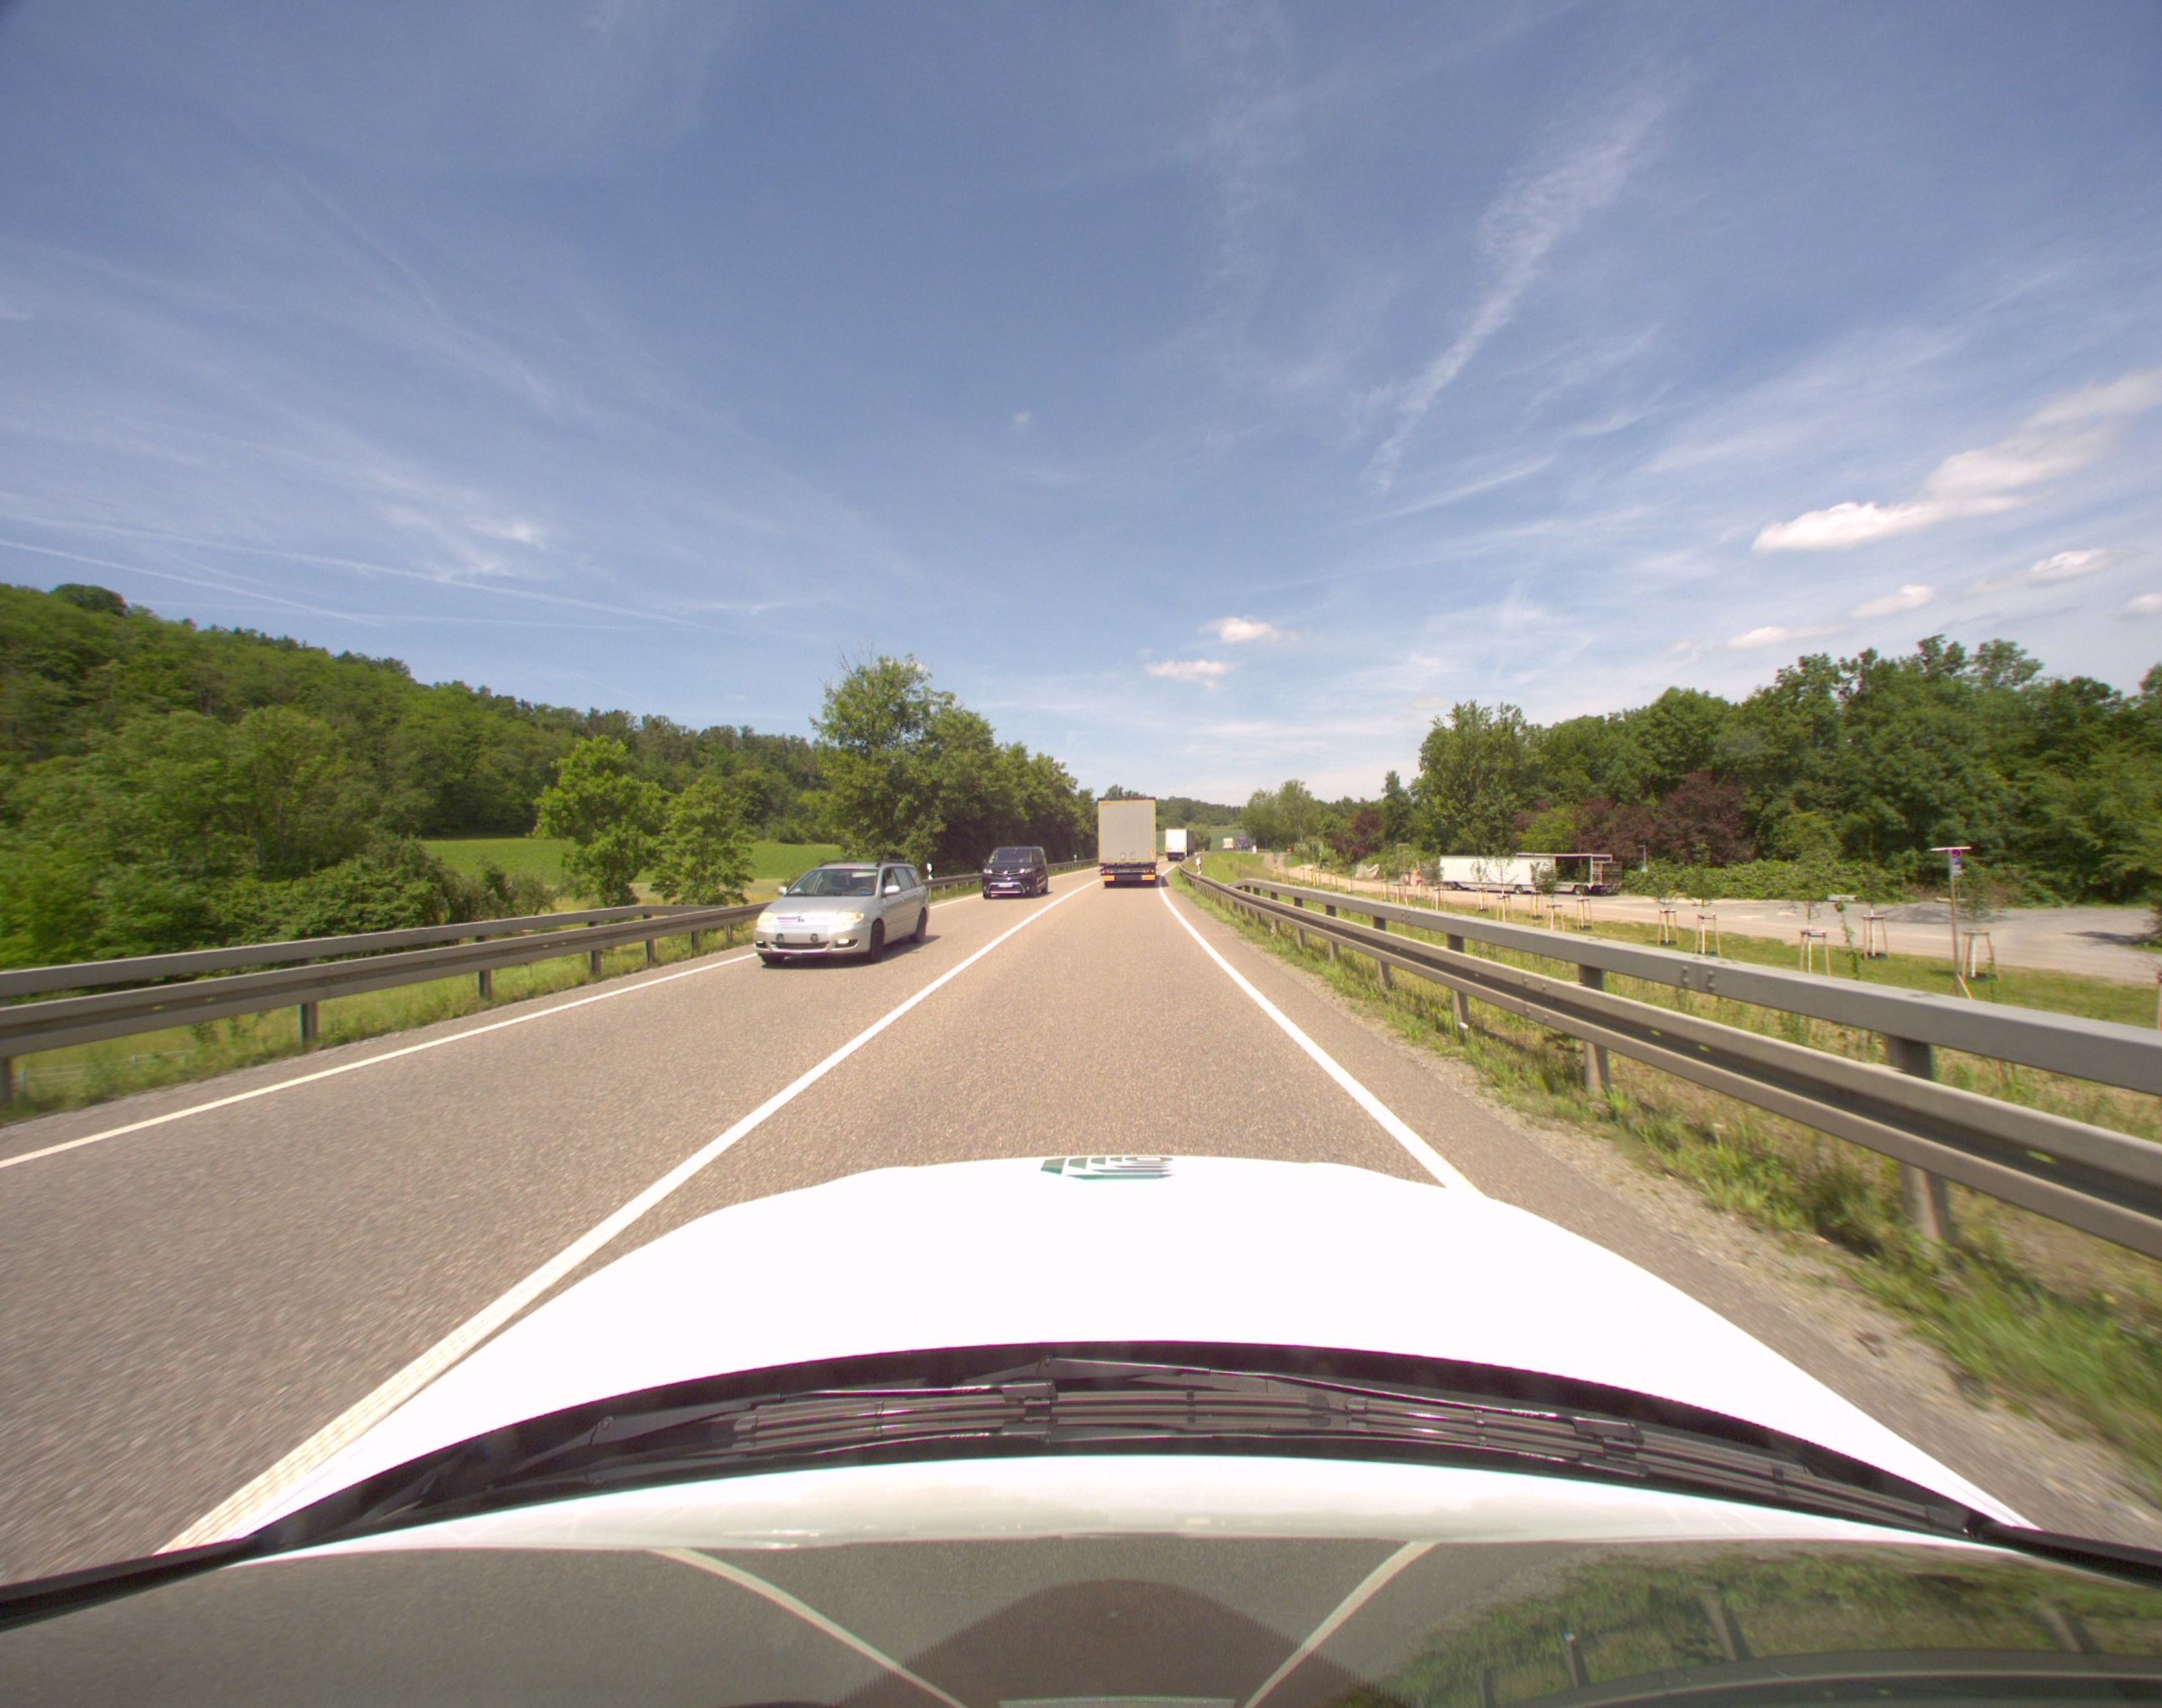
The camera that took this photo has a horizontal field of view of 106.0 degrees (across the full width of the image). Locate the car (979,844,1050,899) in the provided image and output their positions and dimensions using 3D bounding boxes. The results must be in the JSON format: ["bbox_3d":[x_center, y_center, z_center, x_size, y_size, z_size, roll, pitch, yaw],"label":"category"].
[{"bbox_3d":[-2.395,0.604,30.617,1.914,1.860,5.180,-1,0,3],"label":"car"}]

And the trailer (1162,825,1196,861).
[{"bbox_3d":[12.757,-1.301,105.001,3.343,4.317,13.905,-1,-1,11],"label":"trailer"}]

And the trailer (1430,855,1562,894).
[{"bbox_3d":[38.036,1.762,75.490,2.731,3.327,11.799,-1,0,-24],"label":"trailer"}]

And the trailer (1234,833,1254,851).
[{"bbox_3d":[41.590,-2.989,207.400,3.619,4.263,12.249,-1,-1,17],"label":"trailer"}]

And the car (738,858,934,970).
[{"bbox_3d":[-3.715,0.833,13.180,1.761,1.494,4.172,-1,0,2],"label":"car"}]

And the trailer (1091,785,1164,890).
[{"bbox_3d":[2.504,-0.753,42.188,3.104,4.499,13.901,-1,0,4],"label":"trailer"}]

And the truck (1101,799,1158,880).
[{"bbox_3d":[2.990,-0.837,48.811,3.104,4.494,6.820,-1,0,5],"label":"truck"}]

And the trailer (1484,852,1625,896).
[{"bbox_3d":[42.261,1.629,73.352,2.729,3.606,11.807,0,0,-22],"label":"trailer"}]

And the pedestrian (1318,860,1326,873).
[{"bbox_3d":[35.751,1.851,120.831,0.881,1.811,0.960,-4,0,3],"label":"pedestrian"}]

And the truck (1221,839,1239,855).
[{"bbox_3d":[34.132,-1.627,186.090,3.199,3.365,11.922,-1,-1,15],"label":"truck"}]
